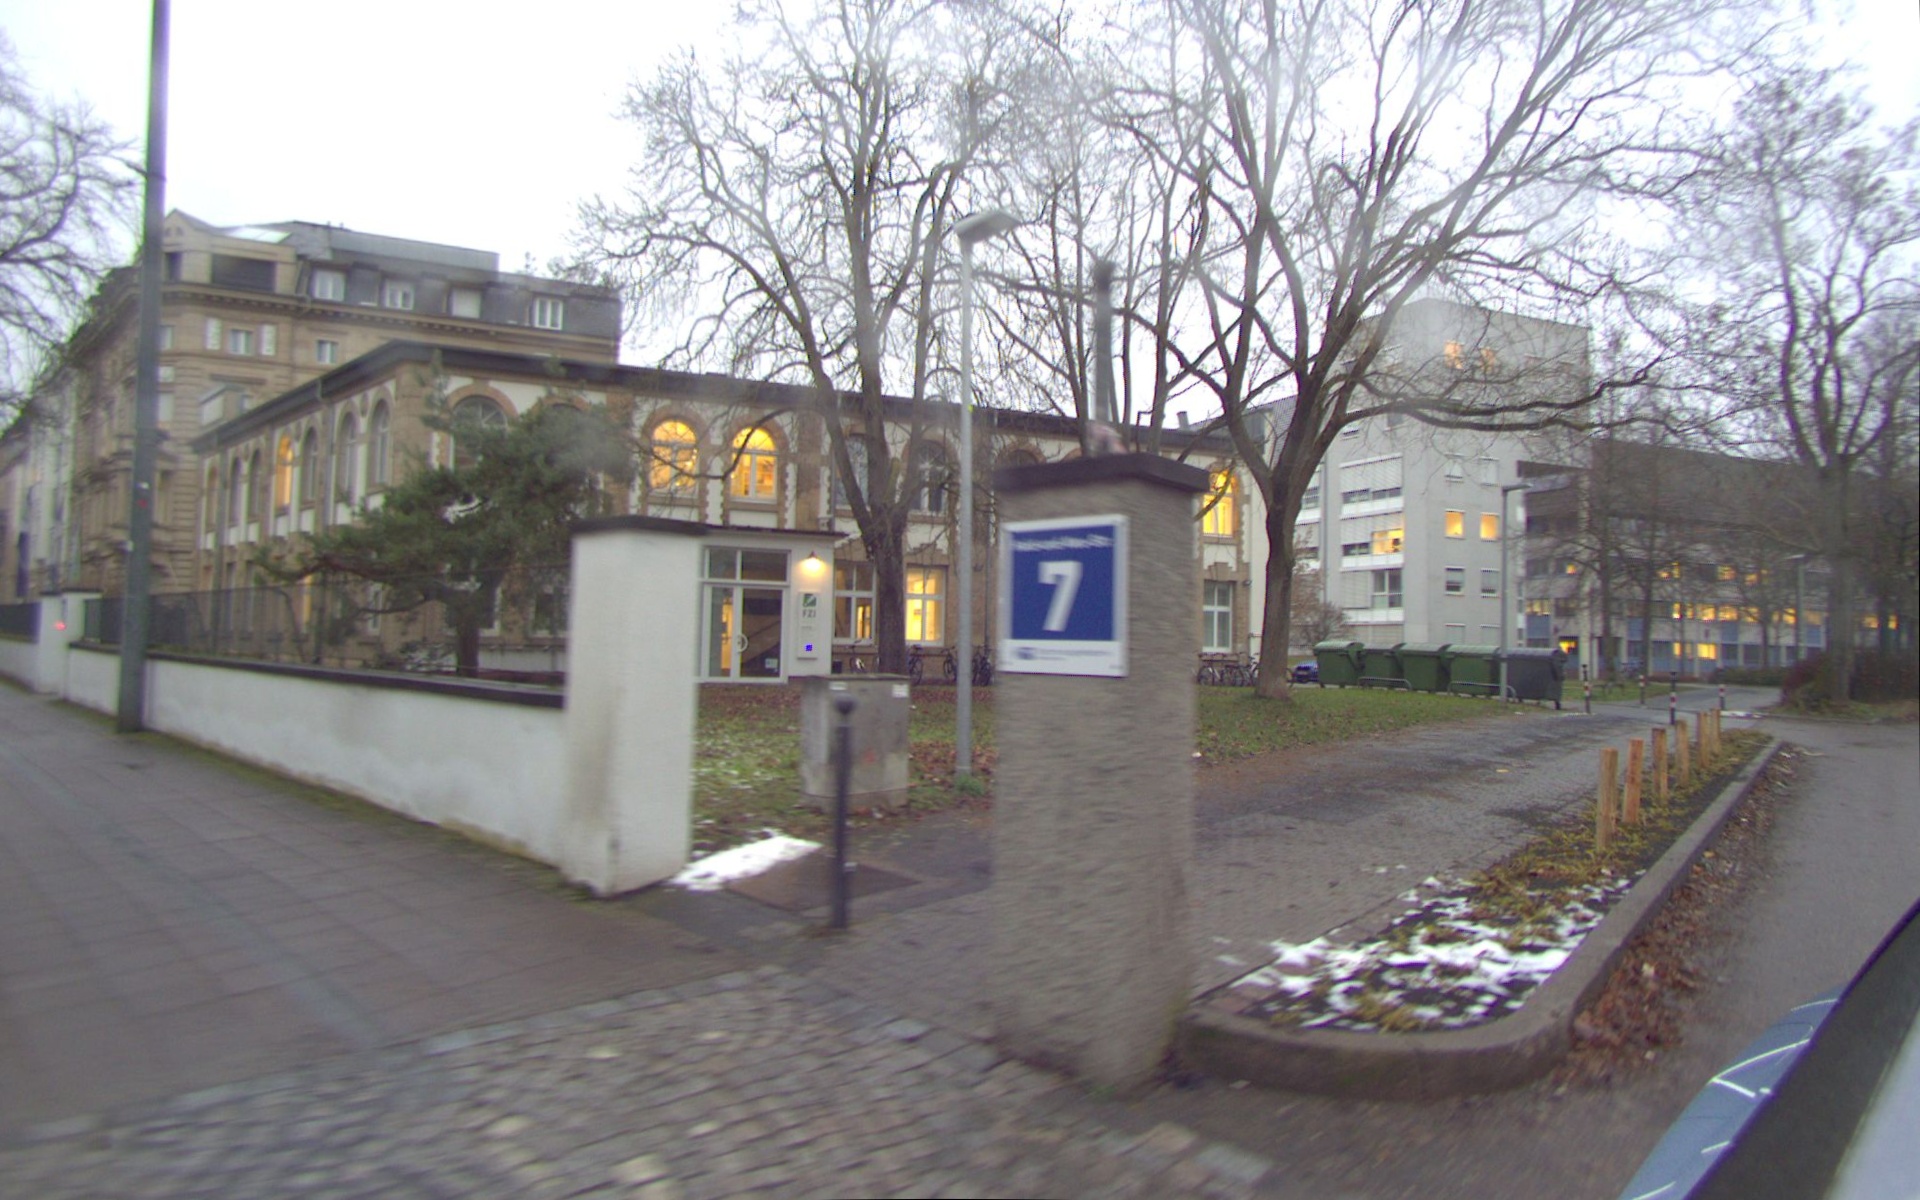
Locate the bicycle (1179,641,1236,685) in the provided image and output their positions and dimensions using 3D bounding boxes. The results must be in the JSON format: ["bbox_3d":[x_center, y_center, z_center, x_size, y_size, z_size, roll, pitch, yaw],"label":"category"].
[{"bbox_3d":[7.236,1.828,29.682,0.561,1.172,2.145,2,-2,-18],"label":"bicycle"}]

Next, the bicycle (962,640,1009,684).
[{"bbox_3d":[0.655,1.641,27.213,0.561,1.029,2.146,2,0,-18],"label":"bicycle"}]

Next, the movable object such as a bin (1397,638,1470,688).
[{"bbox_3d":[12.361,1.625,26.426,0.967,1.241,1.440,2,-2,-25],"label":"movable object such as a bin"}]

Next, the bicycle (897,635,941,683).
[{"bbox_3d":[-1.088,1.511,26.396,0.561,1.172,2.145,2,-2,-18],"label":"bicycle"}]

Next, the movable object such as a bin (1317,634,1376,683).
[{"bbox_3d":[11.046,1.653,28.939,0.967,1.331,1.265,2,-2,-25],"label":"movable object such as a bin"}]

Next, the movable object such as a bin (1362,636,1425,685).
[{"bbox_3d":[11.908,1.649,27.807,0.967,1.296,1.253,2,-2,-25],"label":"movable object such as a bin"}]

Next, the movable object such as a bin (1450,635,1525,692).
[{"bbox_3d":[12.992,1.549,24.949,0.967,1.331,1.309,2,-2,-25],"label":"movable object such as a bin"}]

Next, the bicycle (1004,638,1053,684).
[{"bbox_3d":[1.838,1.635,27.618,0.561,1.172,2.145,2,-2,-18],"label":"bicycle"}]

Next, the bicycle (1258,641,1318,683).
[{"bbox_3d":[9.876,1.848,30.585,0.561,1.172,2.145,2,-2,-18],"label":"bicycle"}]

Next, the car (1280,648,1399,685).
[{"bbox_3d":[14.911,2.607,39.843,3.916,1.297,2.004,2,-2,-15],"label":"car"}]

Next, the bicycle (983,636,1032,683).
[{"bbox_3d":[1.267,1.598,27.414,0.561,1.172,2.145,2,-2,-18],"label":"bicycle"}]

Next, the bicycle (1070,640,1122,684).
[{"bbox_3d":[3.795,1.718,28.407,0.561,1.125,2.145,2,-2,-18],"label":"bicycle"}]

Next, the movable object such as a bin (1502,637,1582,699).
[{"bbox_3d":[13.591,1.560,23.651,1.043,1.333,1.323,2,-1,-38],"label":"movable object such as a bin"}]

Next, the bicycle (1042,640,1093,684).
[{"bbox_3d":[2.963,1.704,28.080,0.561,1.106,2.145,2,-2,-18],"label":"bicycle"}]

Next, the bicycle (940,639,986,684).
[{"bbox_3d":[0.056,1.615,26.993,0.561,1.064,2.146,2,0,-18],"label":"bicycle"}]

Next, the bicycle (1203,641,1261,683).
[{"bbox_3d":[8.042,1.822,30.015,0.561,1.172,2.145,2,-2,-18],"label":"bicycle"}]

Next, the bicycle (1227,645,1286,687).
[{"bbox_3d":[8.902,1.970,30.464,0.561,1.172,2.145,2,-2,-18],"label":"bicycle"}]
